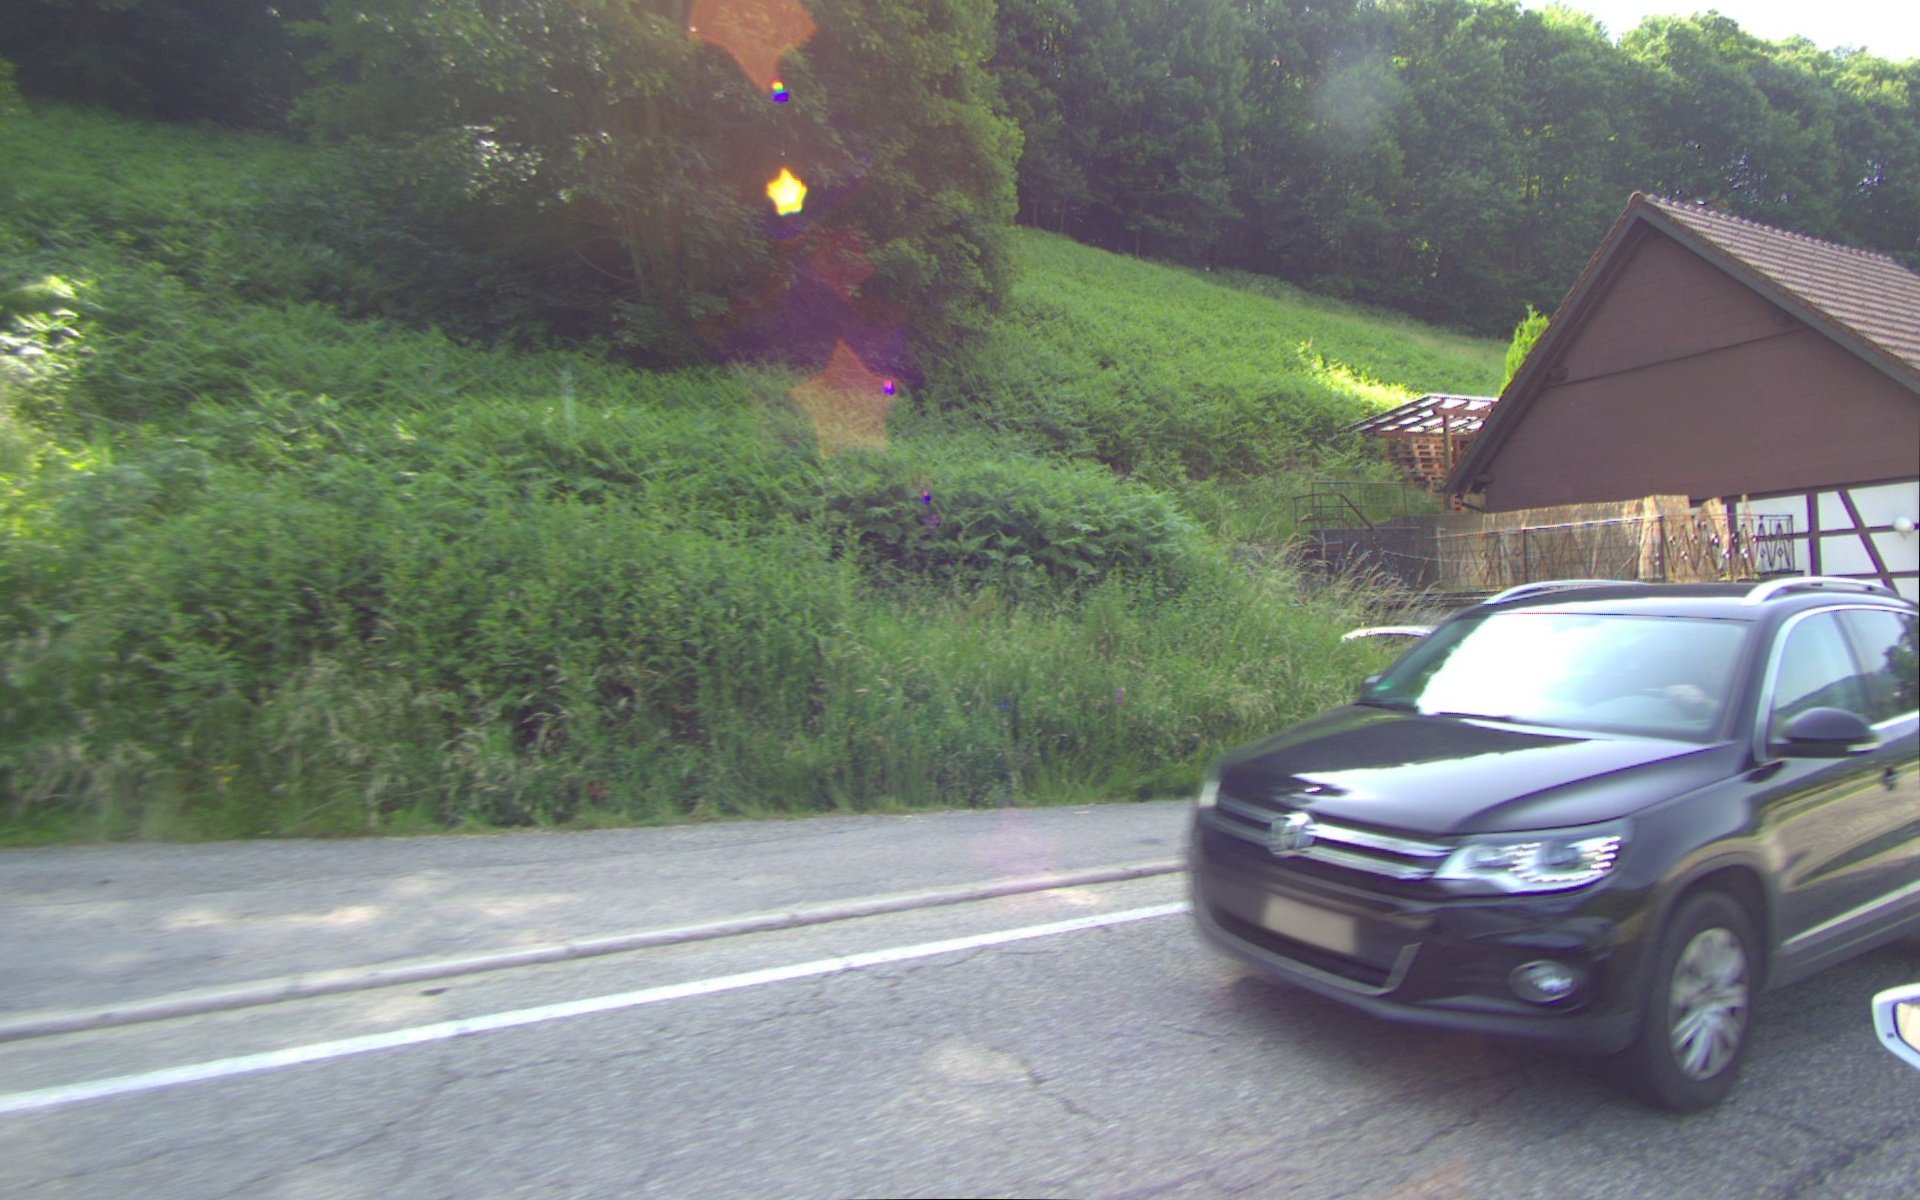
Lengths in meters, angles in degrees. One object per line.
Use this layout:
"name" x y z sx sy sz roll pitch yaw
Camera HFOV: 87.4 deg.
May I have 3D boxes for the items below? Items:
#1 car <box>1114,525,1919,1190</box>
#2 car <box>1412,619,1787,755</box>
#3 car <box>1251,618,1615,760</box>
"car" 2.913 0.672 4.409 4.207 1.667 1.880 1 -1 -30
"car" 8.192 1.007 13.257 1.839 1.452 3.804 0 0 -26
"car" 5.624 0.966 12.449 1.833 1.435 3.804 1 -1 -26
